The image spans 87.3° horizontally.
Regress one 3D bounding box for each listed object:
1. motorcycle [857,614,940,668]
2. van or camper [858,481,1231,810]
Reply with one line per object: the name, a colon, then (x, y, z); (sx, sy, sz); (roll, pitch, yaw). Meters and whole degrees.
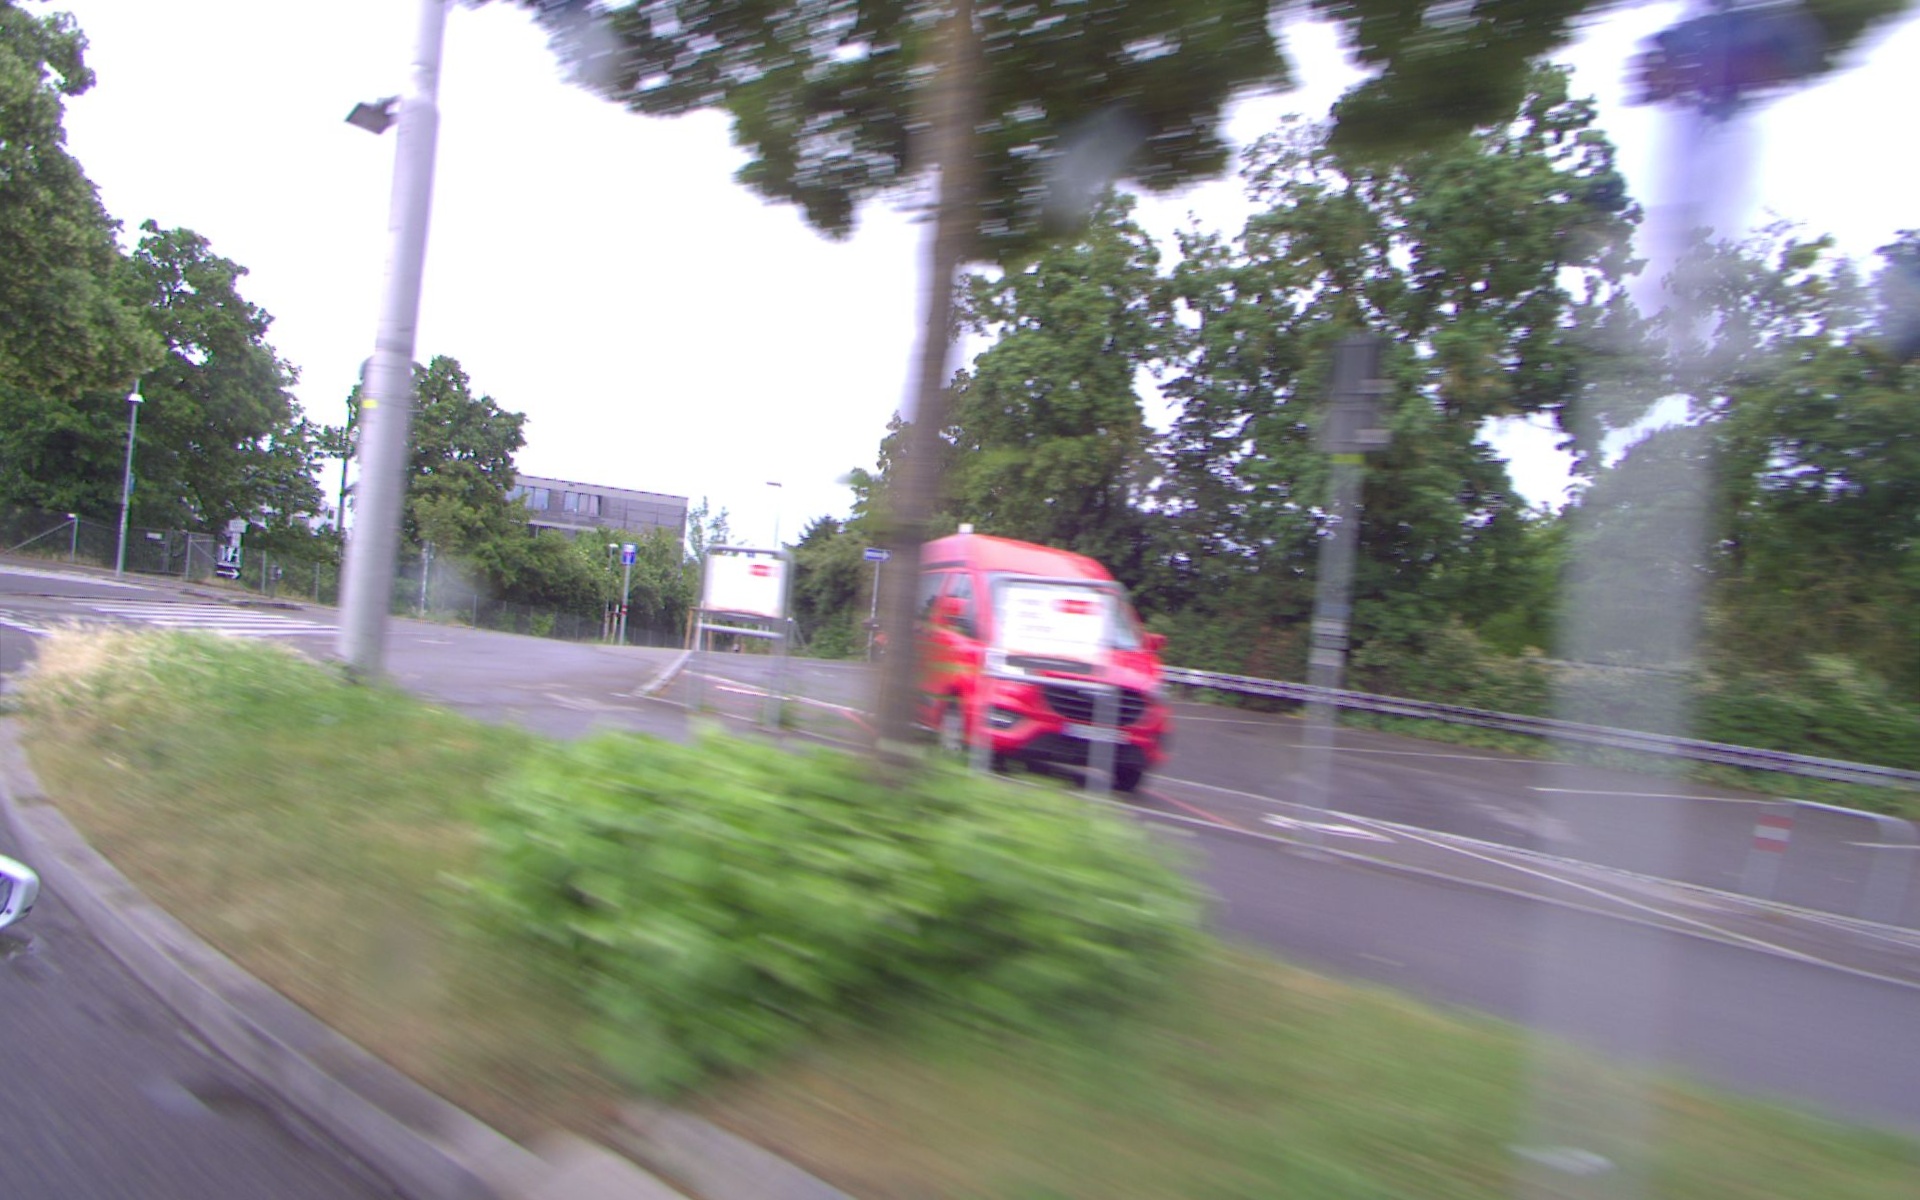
motorcycle: (-1.531, 1.035, 25.217); (1.994, 1.227, 0.472); (4, -4, -20)
van or camper: (0.498, 0.468, 10.972); (2.012, 2.431, 5.380); (10, -4, -15)
